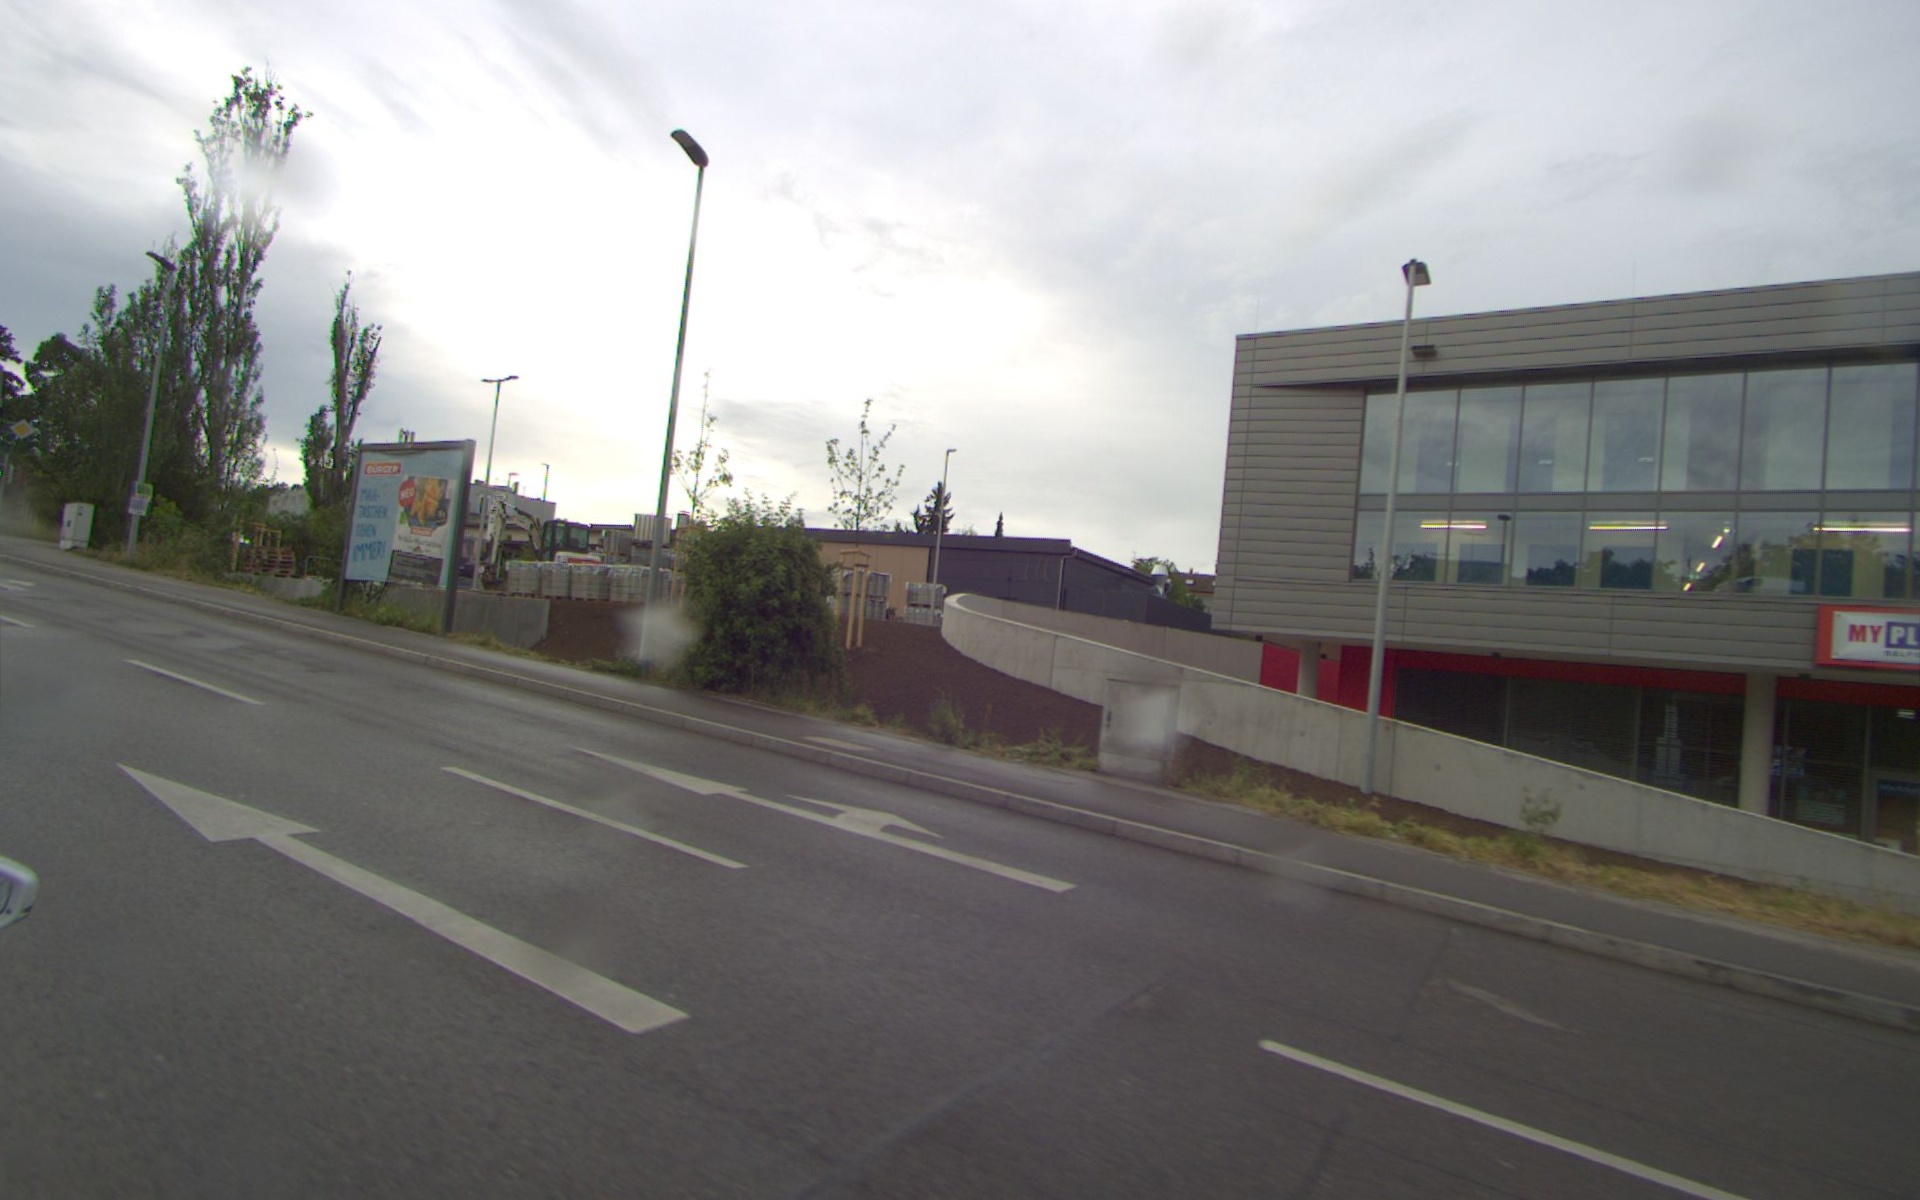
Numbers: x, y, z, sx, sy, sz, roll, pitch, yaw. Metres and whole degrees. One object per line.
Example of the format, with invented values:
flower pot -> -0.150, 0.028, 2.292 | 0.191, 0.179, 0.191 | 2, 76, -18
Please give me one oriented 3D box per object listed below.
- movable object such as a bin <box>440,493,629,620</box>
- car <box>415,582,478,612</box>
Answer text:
movable object such as a bin -> -13.862, -1.421, 32.787 | 5.327, 3.312, 2.311 | 7, -2, 25
car -> -37.863, -0.194, 74.316 | 1.490, 1.581, 3.882 | 7, -3, 25
